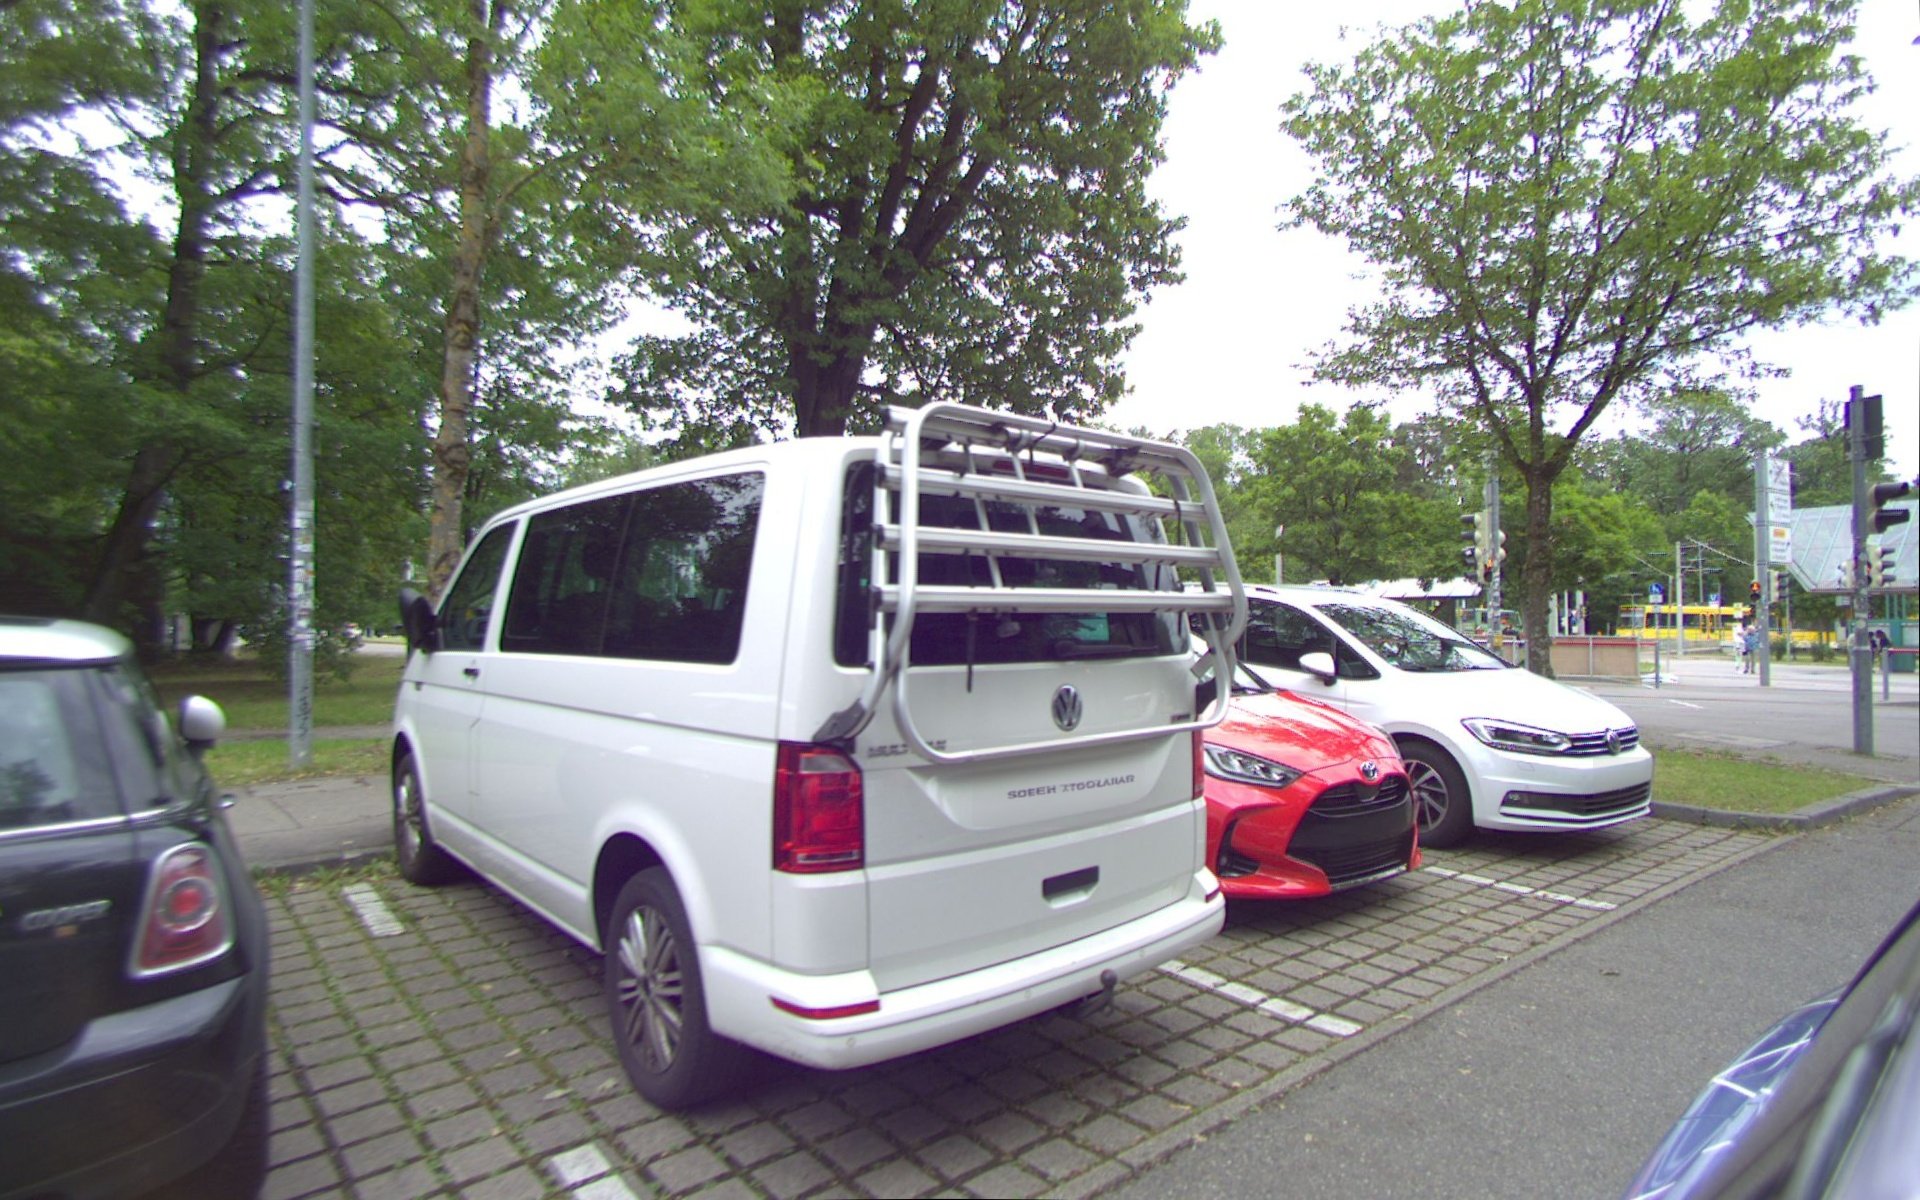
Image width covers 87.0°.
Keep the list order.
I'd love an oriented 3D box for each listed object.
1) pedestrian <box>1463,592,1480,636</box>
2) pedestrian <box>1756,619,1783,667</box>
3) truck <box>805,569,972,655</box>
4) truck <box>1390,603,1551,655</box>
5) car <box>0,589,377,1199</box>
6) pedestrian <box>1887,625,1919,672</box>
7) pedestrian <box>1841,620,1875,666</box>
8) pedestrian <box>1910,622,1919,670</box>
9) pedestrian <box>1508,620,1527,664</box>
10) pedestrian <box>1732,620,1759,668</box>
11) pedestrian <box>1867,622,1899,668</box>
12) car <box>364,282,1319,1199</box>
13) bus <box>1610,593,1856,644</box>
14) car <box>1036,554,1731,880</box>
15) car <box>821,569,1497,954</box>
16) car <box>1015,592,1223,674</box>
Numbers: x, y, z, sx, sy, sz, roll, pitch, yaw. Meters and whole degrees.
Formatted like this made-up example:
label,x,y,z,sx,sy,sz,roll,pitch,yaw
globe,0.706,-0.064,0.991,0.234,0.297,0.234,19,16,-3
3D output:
label,x,y,z,sx,sy,sz,roll,pitch,yaw
pedestrian,18.357,0.503,36.322,0.473,1.536,0.519,-1,-4,20
pedestrian,30.246,1.614,37.825,0.732,1.781,0.659,-2,-4,37
truck,-3.391,0.517,45.928,8.222,3.560,2.822,0,-1,45
truck,24.394,1.410,48.612,6.423,2.383,2.404,0,-3,2
car,-3.229,0.808,3.016,1.814,1.575,3.726,3,-4,-42
pedestrian,36.009,1.846,38.634,0.591,1.781,0.665,0,-3,14
pedestrian,35.450,1.706,39.972,0.721,1.781,0.734,2,-4,-26
pedestrian,36.532,1.743,38.252,0.591,1.781,0.665,0,-3,14
pedestrian,19.654,1.470,35.683,0.473,1.536,0.519,-1,-4,20
pedestrian,29.496,1.636,37.997,0.733,1.781,0.659,-2,-4,38
pedestrian,35.823,1.737,39.290,0.656,1.781,0.561,0,-3,1
car,-1.055,0.441,4.589,2.046,2.048,4.656,2,-4,-40
bus,59.136,1.509,77.444,18.188,3.529,3.984,1,-3,-12
car,2.838,0.608,7.819,2.124,1.714,4.535,0,0,-35
car,0.869,0.723,6.377,1.909,1.575,4.010,1,-2,-34
car,3.718,0.767,23.510,4.519,1.773,1.987,0,-3,19
